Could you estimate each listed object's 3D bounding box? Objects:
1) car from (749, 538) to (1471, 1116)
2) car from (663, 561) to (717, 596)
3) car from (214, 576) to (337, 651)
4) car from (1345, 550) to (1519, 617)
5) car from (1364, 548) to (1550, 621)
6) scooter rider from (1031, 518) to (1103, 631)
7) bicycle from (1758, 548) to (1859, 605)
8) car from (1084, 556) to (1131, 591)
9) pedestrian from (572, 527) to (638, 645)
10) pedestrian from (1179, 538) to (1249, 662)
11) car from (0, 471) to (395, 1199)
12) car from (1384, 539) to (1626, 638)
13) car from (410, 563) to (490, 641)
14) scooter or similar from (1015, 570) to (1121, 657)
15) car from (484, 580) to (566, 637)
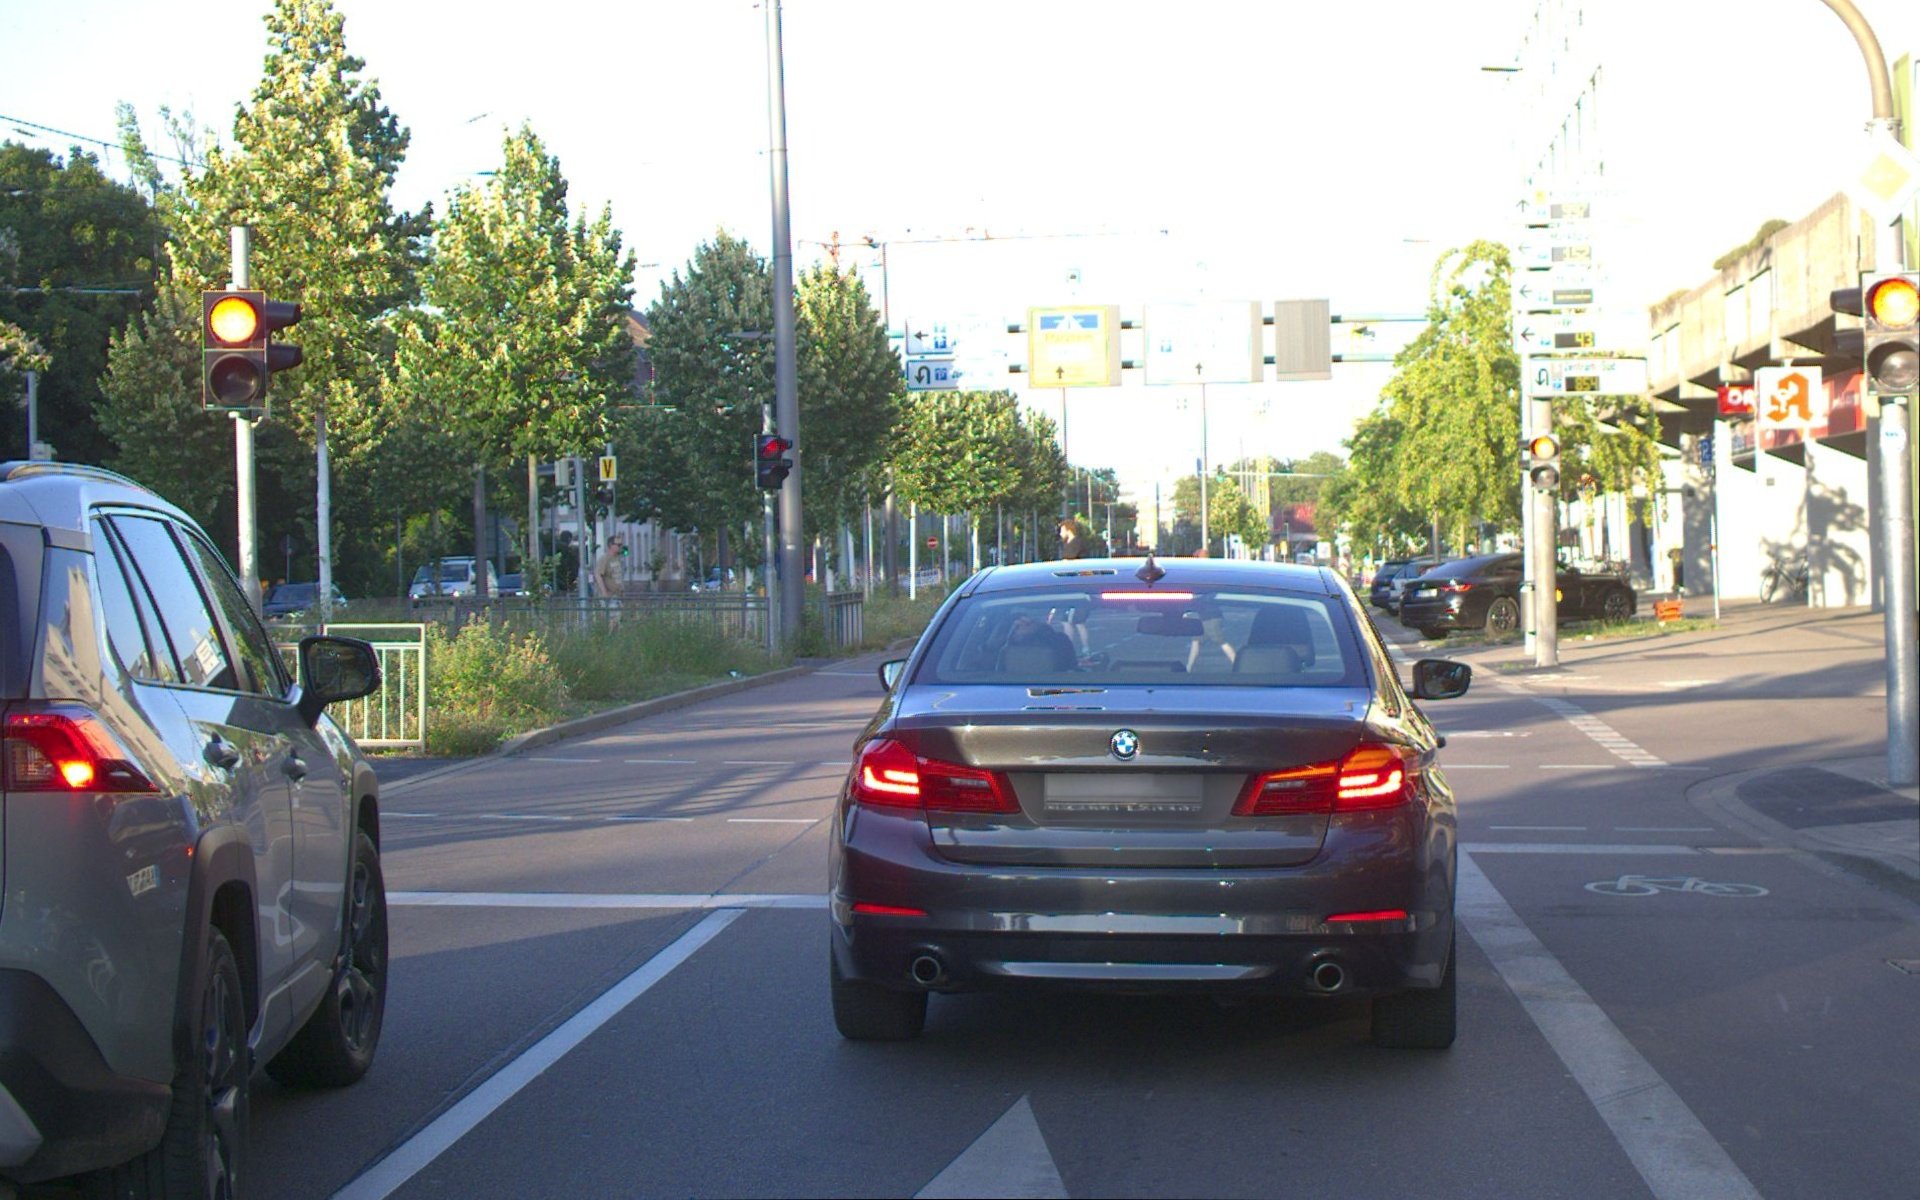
[{"bbox_3d":[0.581,0.564,11.483,1.932,1.476,4.522,0,2,5],"label":"car"},{"bbox_3d":[-11.773,-0.945,150.132,1.800,1.476,3.782,-1,1,4],"label":"car"},{"bbox_3d":[-17.325,0.320,87.220,1.993,1.738,4.751,0,2,2],"label":"car"},{"bbox_3d":[12.296,-0.450,89.456,4.254,1.653,1.861,-1,2,-31],"label":"car"},{"bbox_3d":[12.057,-0.403,83.275,4.254,1.653,1.861,-1,2,-32],"label":"car"},{"bbox_3d":[1.459,-0.345,46.933,0.820,1.509,0.653,-1,0,-12],"label":"scooter rider"},{"bbox_3d":[17.983,-0.499,72.886,2.017,1.145,0.690,2,0,10],"label":"bicycle"},{"bbox_3d":[6.531,-1.200,151.721,1.979,1.428,4.842,0,2,4],"label":"car"},{"bbox_3d":[-5.204,-0.205,50.403,0.835,1.706,0.647,-1,0,3],"label":"pedestrian"},{"bbox_3d":[3.298,-0.005,44.629,0.835,1.581,0.812,-1,0,7],"label":"pedestrian"},{"bbox_3d":[-2.466,0.538,7.957,1.854,1.653,4.269,0,2,-3],"label":"car"},{"bbox_3d":[9.696,-0.233,61.014,4.256,1.653,1.860,-1,2,-39],"label":"car"},{"bbox_3d":[-15.162,0.020,102.398,1.993,2.160,4.752,0,2,-4],"label":"car"},{"bbox_3d":[1.471,0.176,46.905,1.329,1.149,0.514,-1,0,-12],"label":"scooter or similar"},{"bbox_3d":[-14.634,0.260,115.778,1.993,1.738,4.751,0,2,2],"label":"car"}]
